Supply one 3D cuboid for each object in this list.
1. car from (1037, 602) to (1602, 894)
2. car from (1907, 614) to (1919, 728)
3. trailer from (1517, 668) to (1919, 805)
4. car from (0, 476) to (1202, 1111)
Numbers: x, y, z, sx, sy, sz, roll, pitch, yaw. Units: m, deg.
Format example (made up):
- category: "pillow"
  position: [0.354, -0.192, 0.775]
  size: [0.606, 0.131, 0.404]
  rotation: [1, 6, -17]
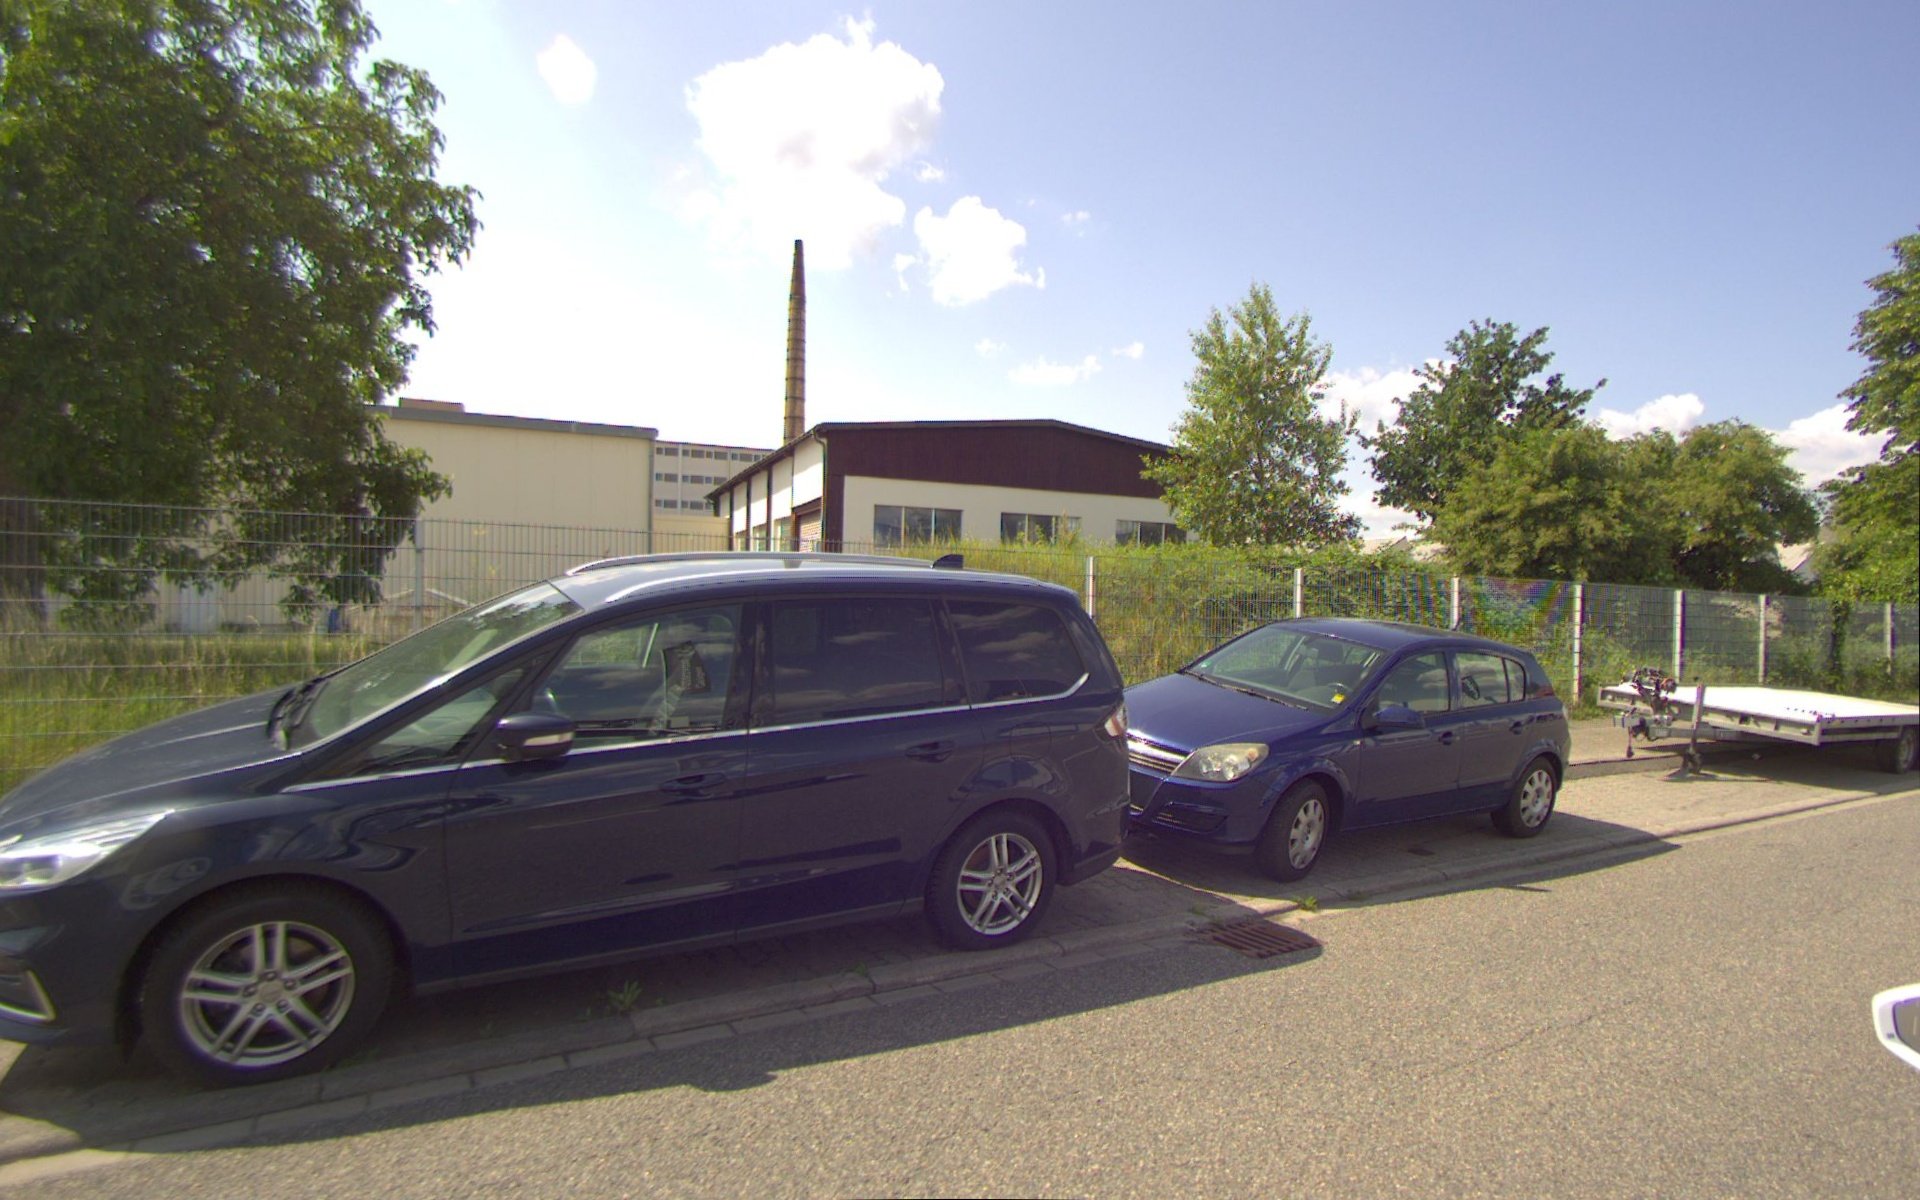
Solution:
- category: "car"
  position: [2.701, 0.858, 7.203]
  size: [4.156, 1.533, 1.568]
  rotation: [2, 1, -33]
- category: "car"
  position: [17.715, 1.196, 16.590]
  size: [4.681, 1.817, 1.818]
  rotation: [2, 0, -31]
- category: "trailer"
  position: [9.785, 1.419, 11.813]
  size: [7.046, 0.895, 2.260]
  rotation: [2, 4, -29]
- category: "car"
  position: [-1.220, 0.589, 4.724]
  size: [4.659, 1.773, 1.792]
  rotation: [2, 0, -31]
